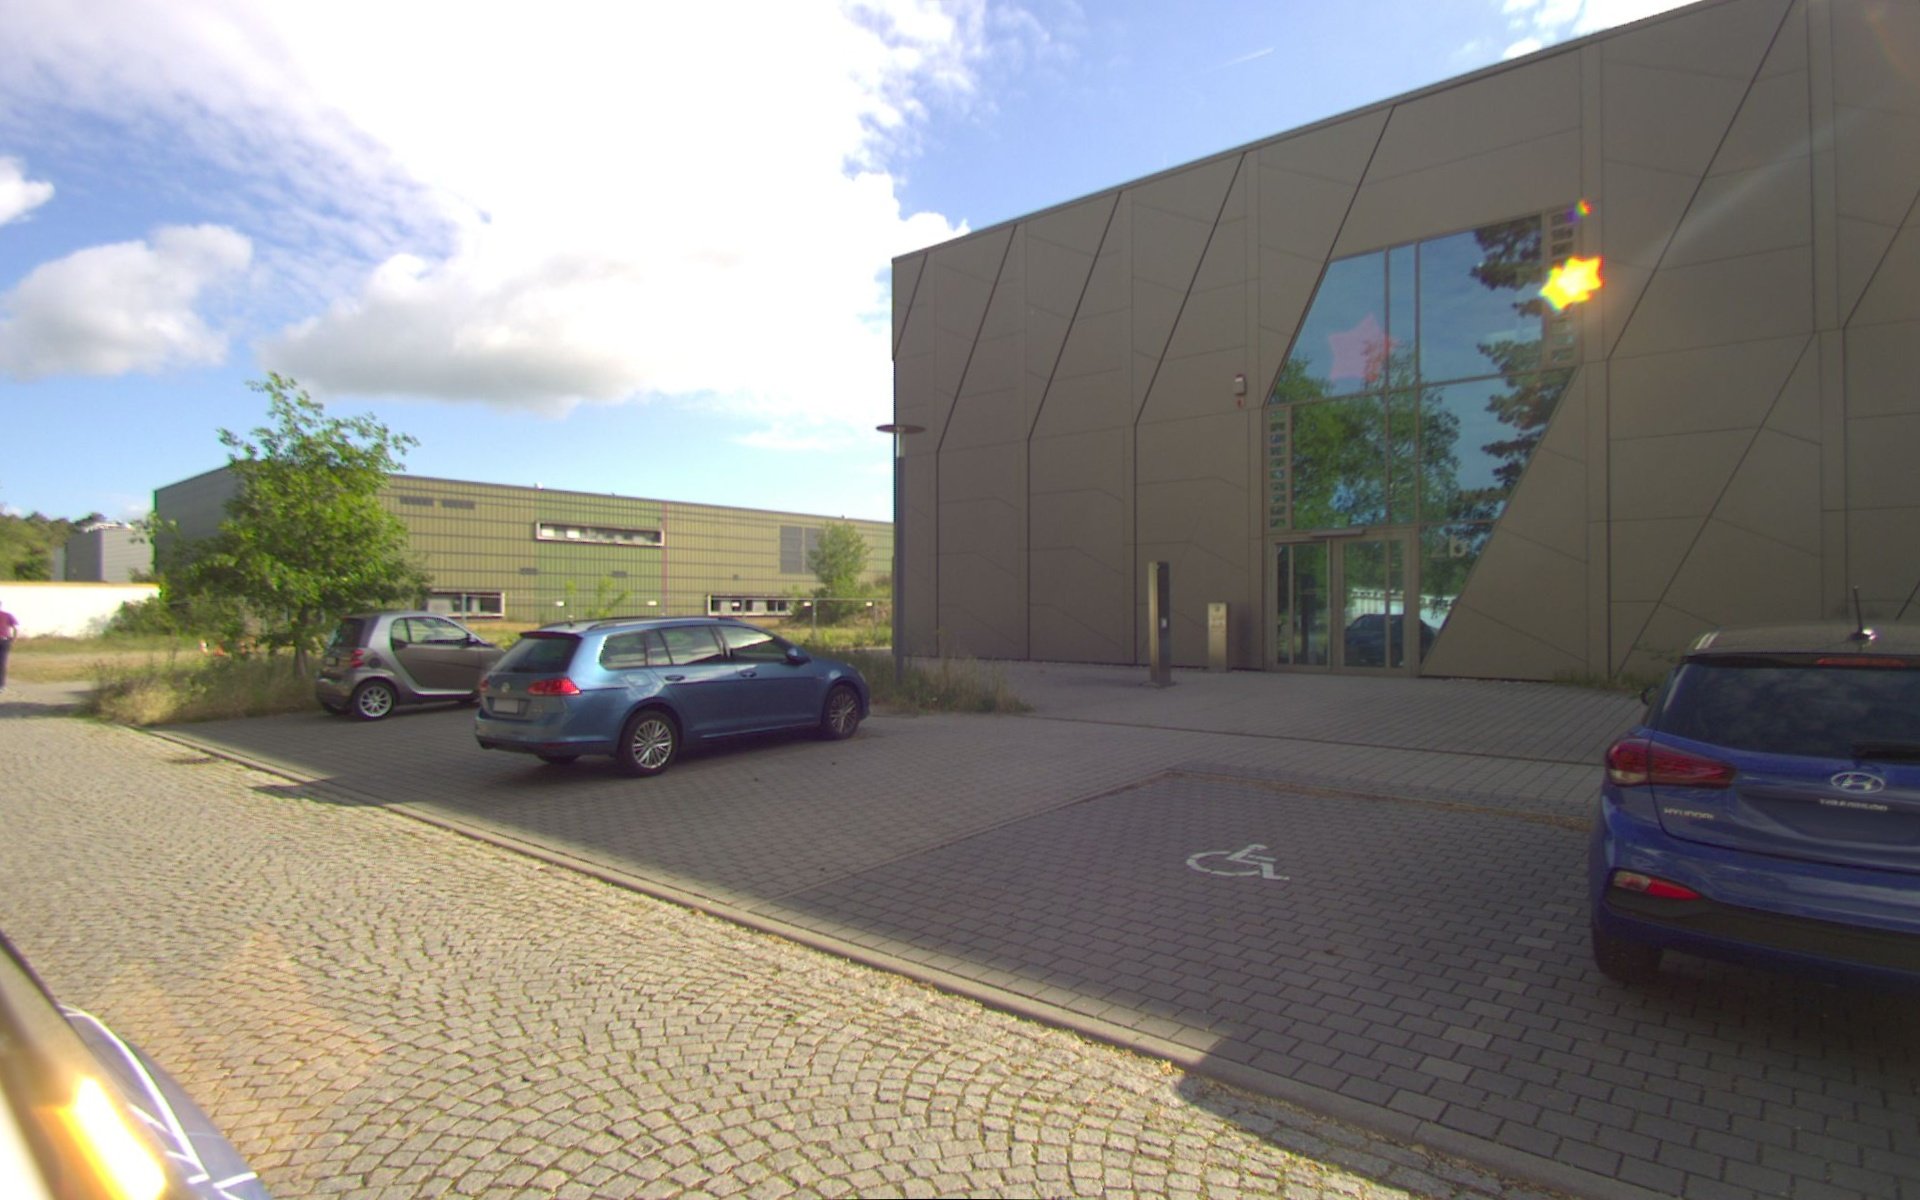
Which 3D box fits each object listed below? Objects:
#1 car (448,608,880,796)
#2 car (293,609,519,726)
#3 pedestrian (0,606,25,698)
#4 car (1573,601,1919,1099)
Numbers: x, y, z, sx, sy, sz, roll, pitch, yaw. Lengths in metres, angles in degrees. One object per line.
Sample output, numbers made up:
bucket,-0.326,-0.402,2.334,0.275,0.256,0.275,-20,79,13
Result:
car,-2.898,0.889,10.743,1.678,1.475,4.216,-1,0,38
car,-8.468,0.954,15.588,1.517,1.554,2.672,-1,1,39
pedestrian,-19.170,1.024,20.013,1.151,1.785,0.797,-1,-1,36
car,4.213,0.779,4.587,1.720,1.475,3.794,-1,1,43
